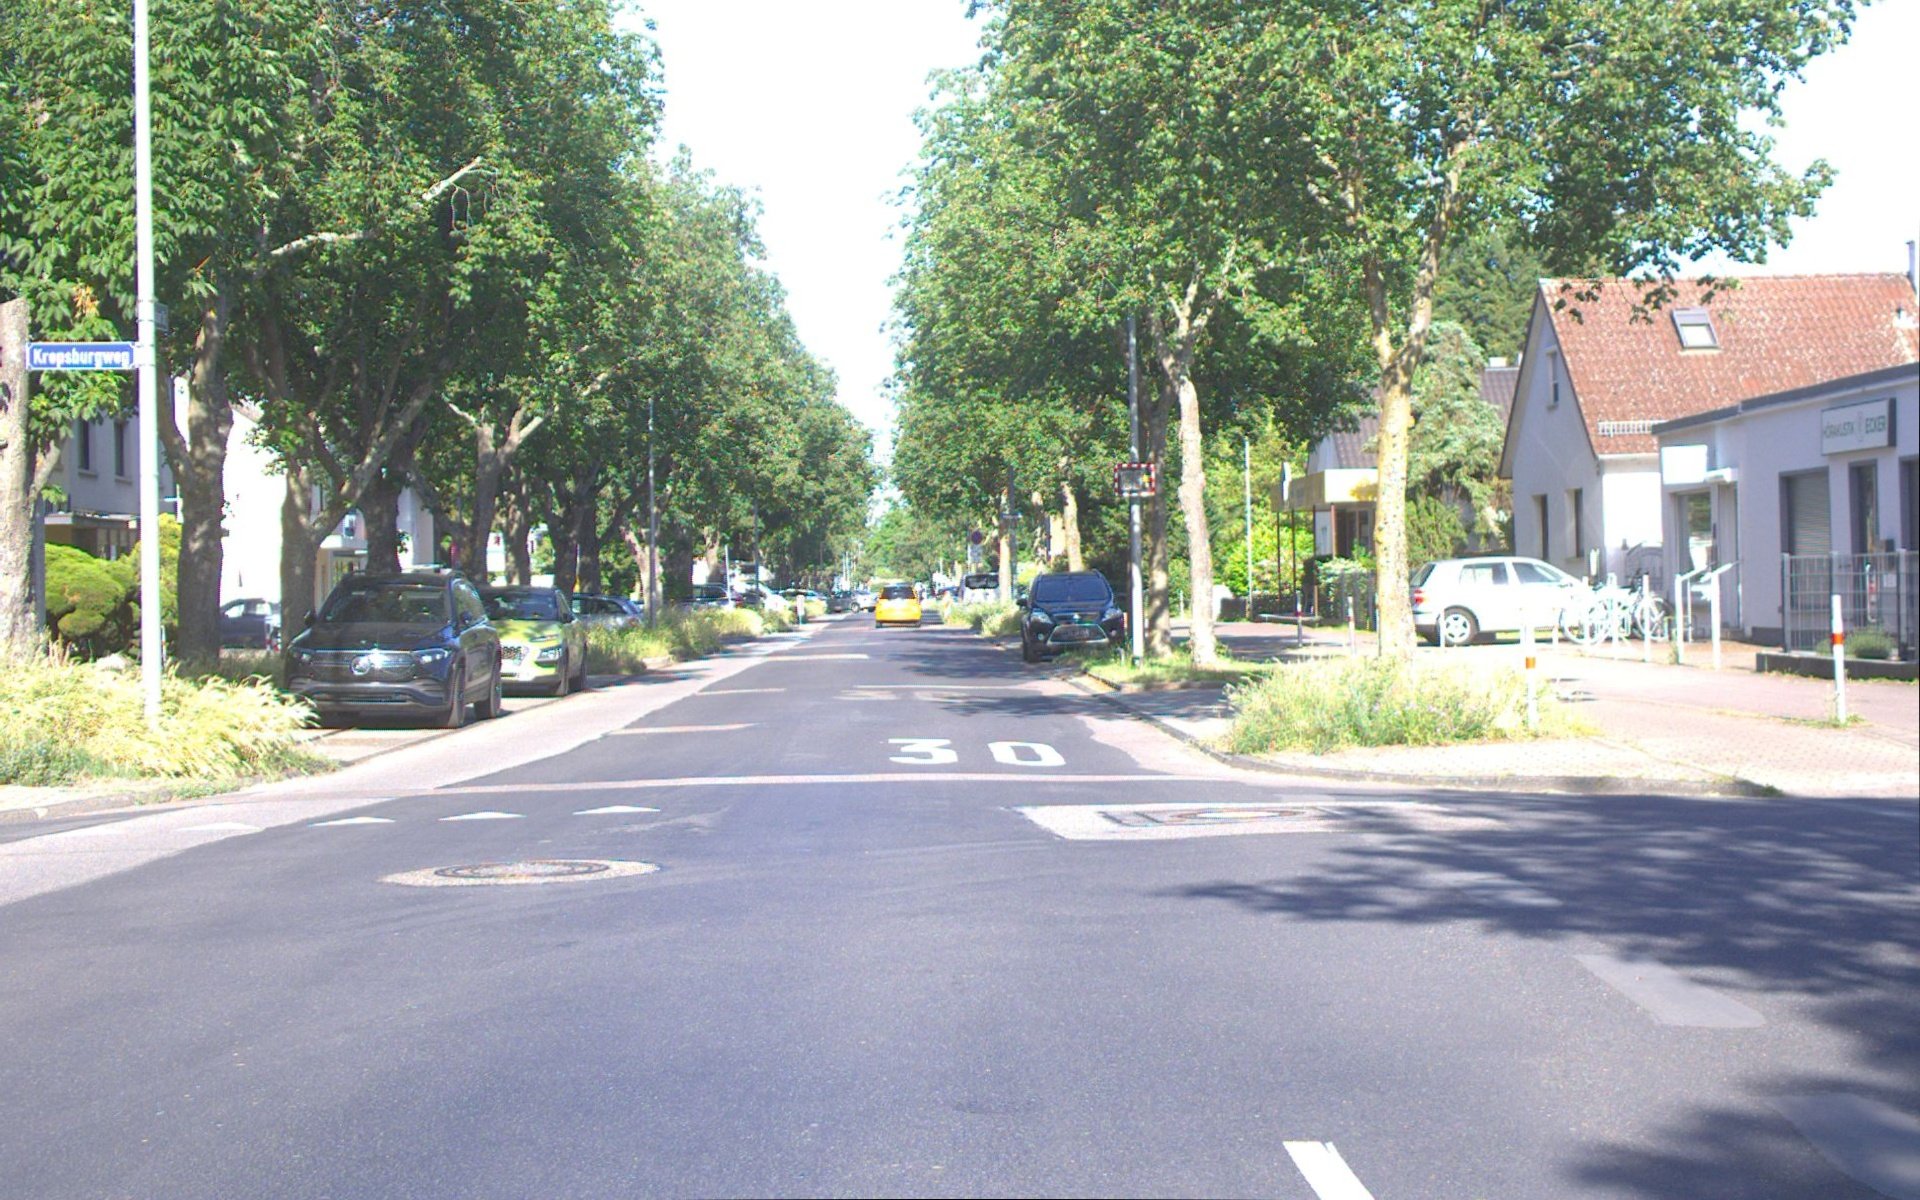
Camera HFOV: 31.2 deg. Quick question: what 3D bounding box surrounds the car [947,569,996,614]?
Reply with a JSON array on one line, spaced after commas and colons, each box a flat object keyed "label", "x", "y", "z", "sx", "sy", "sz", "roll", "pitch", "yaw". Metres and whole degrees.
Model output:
[{"label": "car", "x": 0.454, "y": -0.337, "z": 138.488, "sx": 1.902, "sy": 1.768, "sz": 4.301, "roll": 0, "pitch": 0, "yaw": 0}]

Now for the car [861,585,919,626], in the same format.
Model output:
[{"label": "car", "x": -2.621, "y": 0.187, "z": 127.941, "sx": 1.887, "sy": 1.474, "sz": 3.888, "roll": 1, "pitch": 0, "yaw": -5}]

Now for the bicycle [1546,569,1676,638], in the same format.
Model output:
[{"label": "bicycle", "x": 10.444, "y": 0.058, "z": 55.159, "sx": 1.923, "sy": 0.995, "sz": 0.576, "roll": -3, "pitch": 2, "yaw": -2}]

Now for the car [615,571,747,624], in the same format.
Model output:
[{"label": "car", "x": -9.706, "y": -0.101, "z": 119.502, "sx": 4.545, "sy": 1.759, "sz": 2.001, "roll": 0, "pitch": 2, "yaw": -5}]

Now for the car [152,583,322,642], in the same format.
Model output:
[{"label": "car", "x": -20.664, "y": 0.350, "z": 98.392, "sx": 4.554, "sy": 1.612, "sz": 2.000, "roll": 0, "pitch": 2, "yaw": -4}]

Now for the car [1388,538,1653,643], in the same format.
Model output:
[{"label": "car", "x": 9.293, "y": -0.178, "z": 57.200, "sx": 3.987, "sy": 1.483, "sz": 1.902, "roll": -3, "pitch": 2, "yaw": -2}]

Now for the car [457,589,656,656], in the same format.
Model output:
[{"label": "car", "x": -9.573, "y": 0.517, "z": 81.803, "sx": 4.554, "sy": 1.506, "sz": 1.841, "roll": 0, "pitch": 2, "yaw": -1}]

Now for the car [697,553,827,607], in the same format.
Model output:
[{"label": "car", "x": -8.466, "y": -0.868, "z": 147.522, "sx": 5.498, "sy": 2.240, "sz": 2.517, "roll": 0, "pitch": 2, "yaw": -2}]

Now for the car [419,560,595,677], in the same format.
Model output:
[{"label": "car", "x": -6.464, "y": 0.274, "z": 49.496, "sx": 1.939, "sy": 1.603, "sz": 4.383, "roll": 0, "pitch": -1, "yaw": 0}]

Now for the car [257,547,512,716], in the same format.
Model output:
[{"label": "car", "x": -6.196, "y": 0.346, "z": 37.570, "sx": 1.953, "sy": 1.721, "sz": 4.875, "roll": 0, "pitch": -1, "yaw": 0}]

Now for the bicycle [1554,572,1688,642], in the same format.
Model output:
[{"label": "bicycle", "x": 10.417, "y": 0.106, "z": 54.171, "sx": 1.957, "sy": 0.995, "sz": 0.576, "roll": -3, "pitch": 2, "yaw": -2}]

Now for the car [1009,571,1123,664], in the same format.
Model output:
[{"label": "car", "x": 1.980, "y": 0.333, "z": 65.366, "sx": 1.853, "sy": 1.620, "sz": 4.469, "roll": -3, "pitch": 0, "yaw": -1}]
